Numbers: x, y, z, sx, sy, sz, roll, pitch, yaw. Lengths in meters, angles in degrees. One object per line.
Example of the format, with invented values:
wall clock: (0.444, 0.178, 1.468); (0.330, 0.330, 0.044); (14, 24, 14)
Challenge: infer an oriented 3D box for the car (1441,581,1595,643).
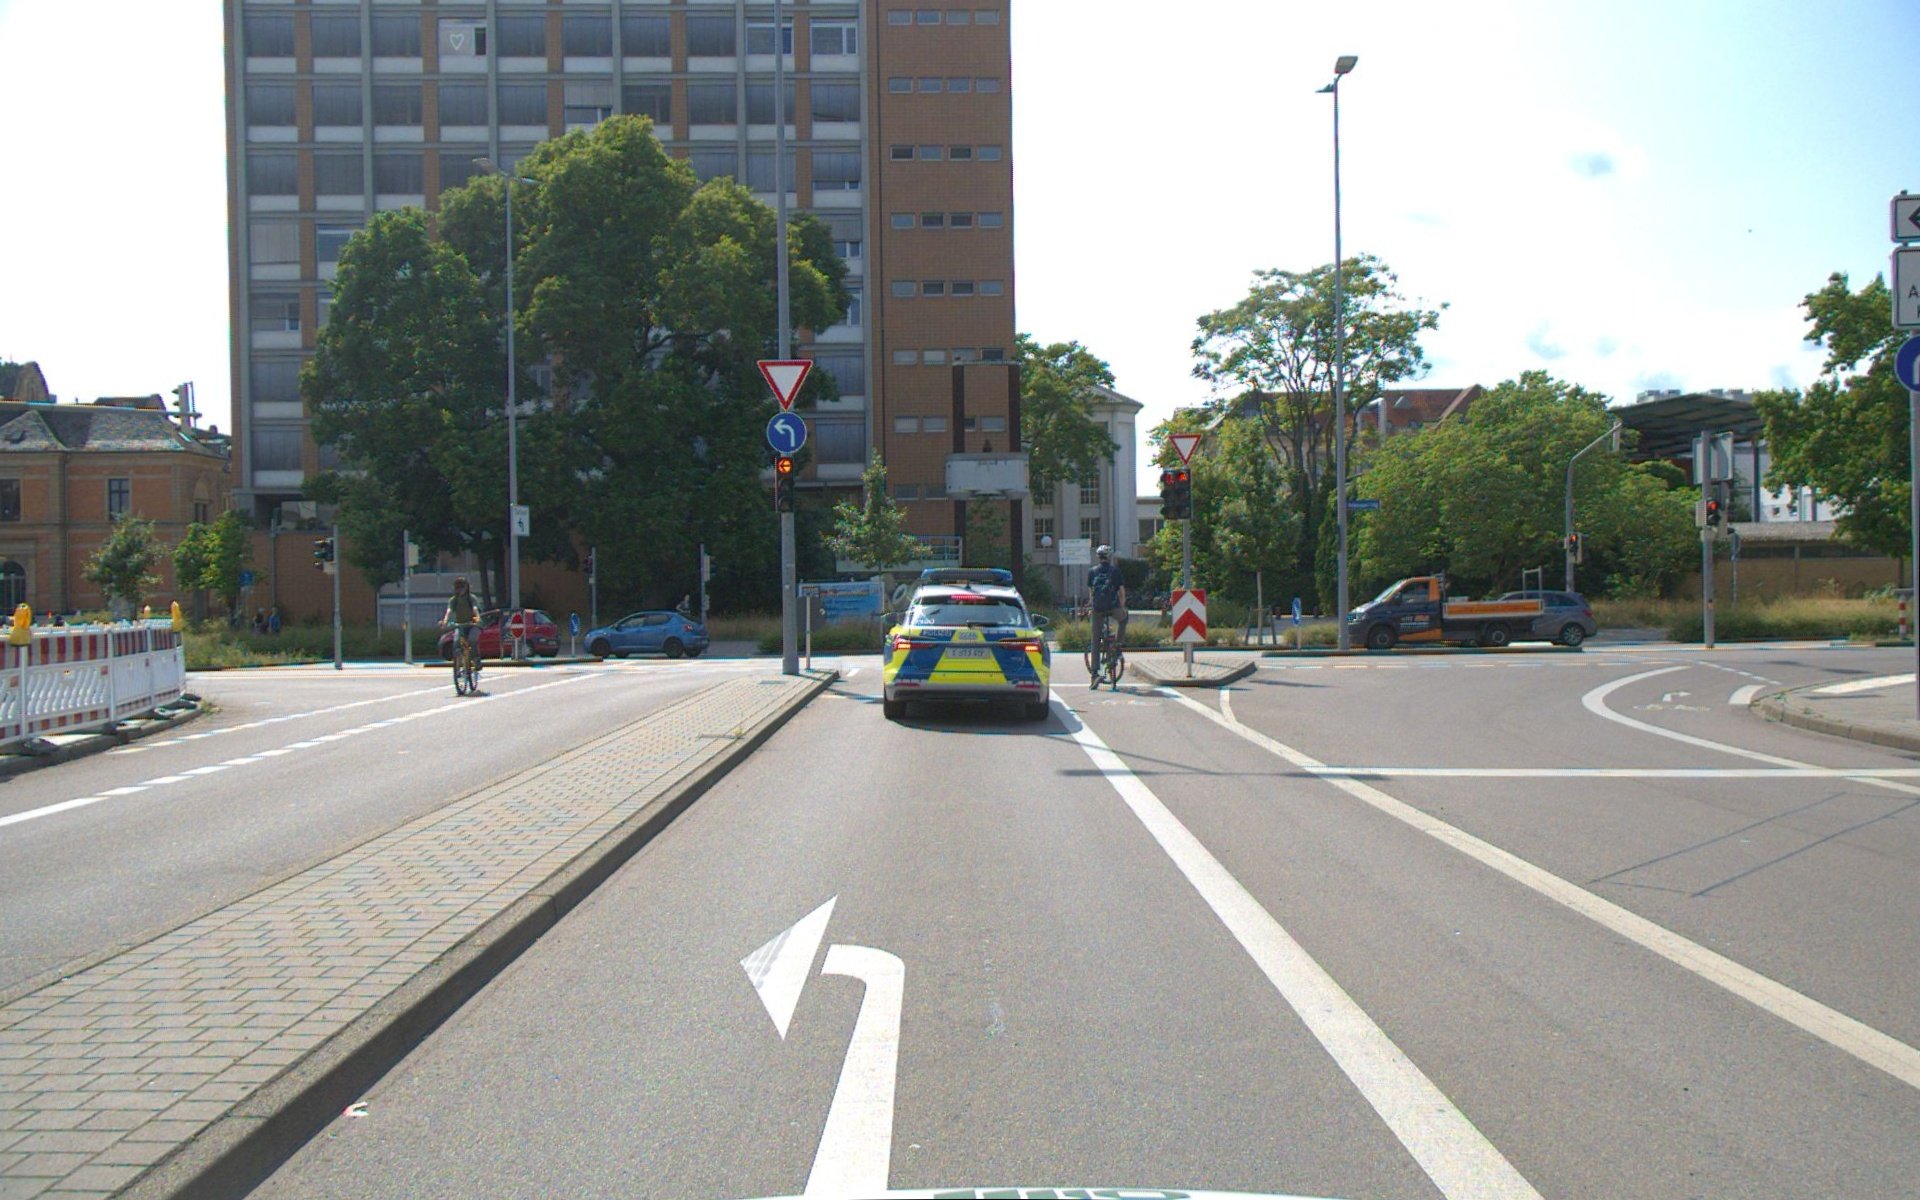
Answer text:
car: (15.716, 0.326, 46.727); (3.828, 1.637, 1.627); (-1, 0, 7)

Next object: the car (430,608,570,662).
car: (-13.703, 1.041, 49.290); (3.644, 1.482, 1.628); (-1, 0, 12)

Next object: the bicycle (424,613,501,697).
bicycle: (-7.384, 0.795, 24.637); (0.621, 1.102, 2.189); (-2, 2, -5)

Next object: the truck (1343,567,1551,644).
truck: (12.855, 0.145, 43.928); (5.007, 1.870, 2.002); (-1, 0, 7)

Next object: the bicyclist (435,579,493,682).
bicyclist: (-7.397, 0.443, 24.710); (0.621, 1.496, 0.839); (-2, 1, -5)

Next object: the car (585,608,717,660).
car: (-9.574, 1.045, 51.379); (3.644, 1.482, 1.628); (-1, 0, 12)

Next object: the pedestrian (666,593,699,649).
pedestrian: (-9.750, 0.721, 58.188); (0.924, 1.916, 0.908); (-1, 0, 2)

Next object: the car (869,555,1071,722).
car: (0.073, 0.374, 19.186); (2.087, 1.713, 4.101); (0, 1, -1)

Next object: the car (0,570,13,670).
car: (-25.392, 0.546, 38.924); (5.453, 2.359, 2.303); (-1, 0, 18)

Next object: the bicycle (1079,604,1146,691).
bicycle: (2.174, 0.658, 23.811); (0.706, 1.102, 2.190); (-1, 2, -1)

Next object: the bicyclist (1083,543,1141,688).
bicyclist: (2.165, 0.207, 23.626); (0.703, 2.007, 0.839); (-1, 1, -1)
